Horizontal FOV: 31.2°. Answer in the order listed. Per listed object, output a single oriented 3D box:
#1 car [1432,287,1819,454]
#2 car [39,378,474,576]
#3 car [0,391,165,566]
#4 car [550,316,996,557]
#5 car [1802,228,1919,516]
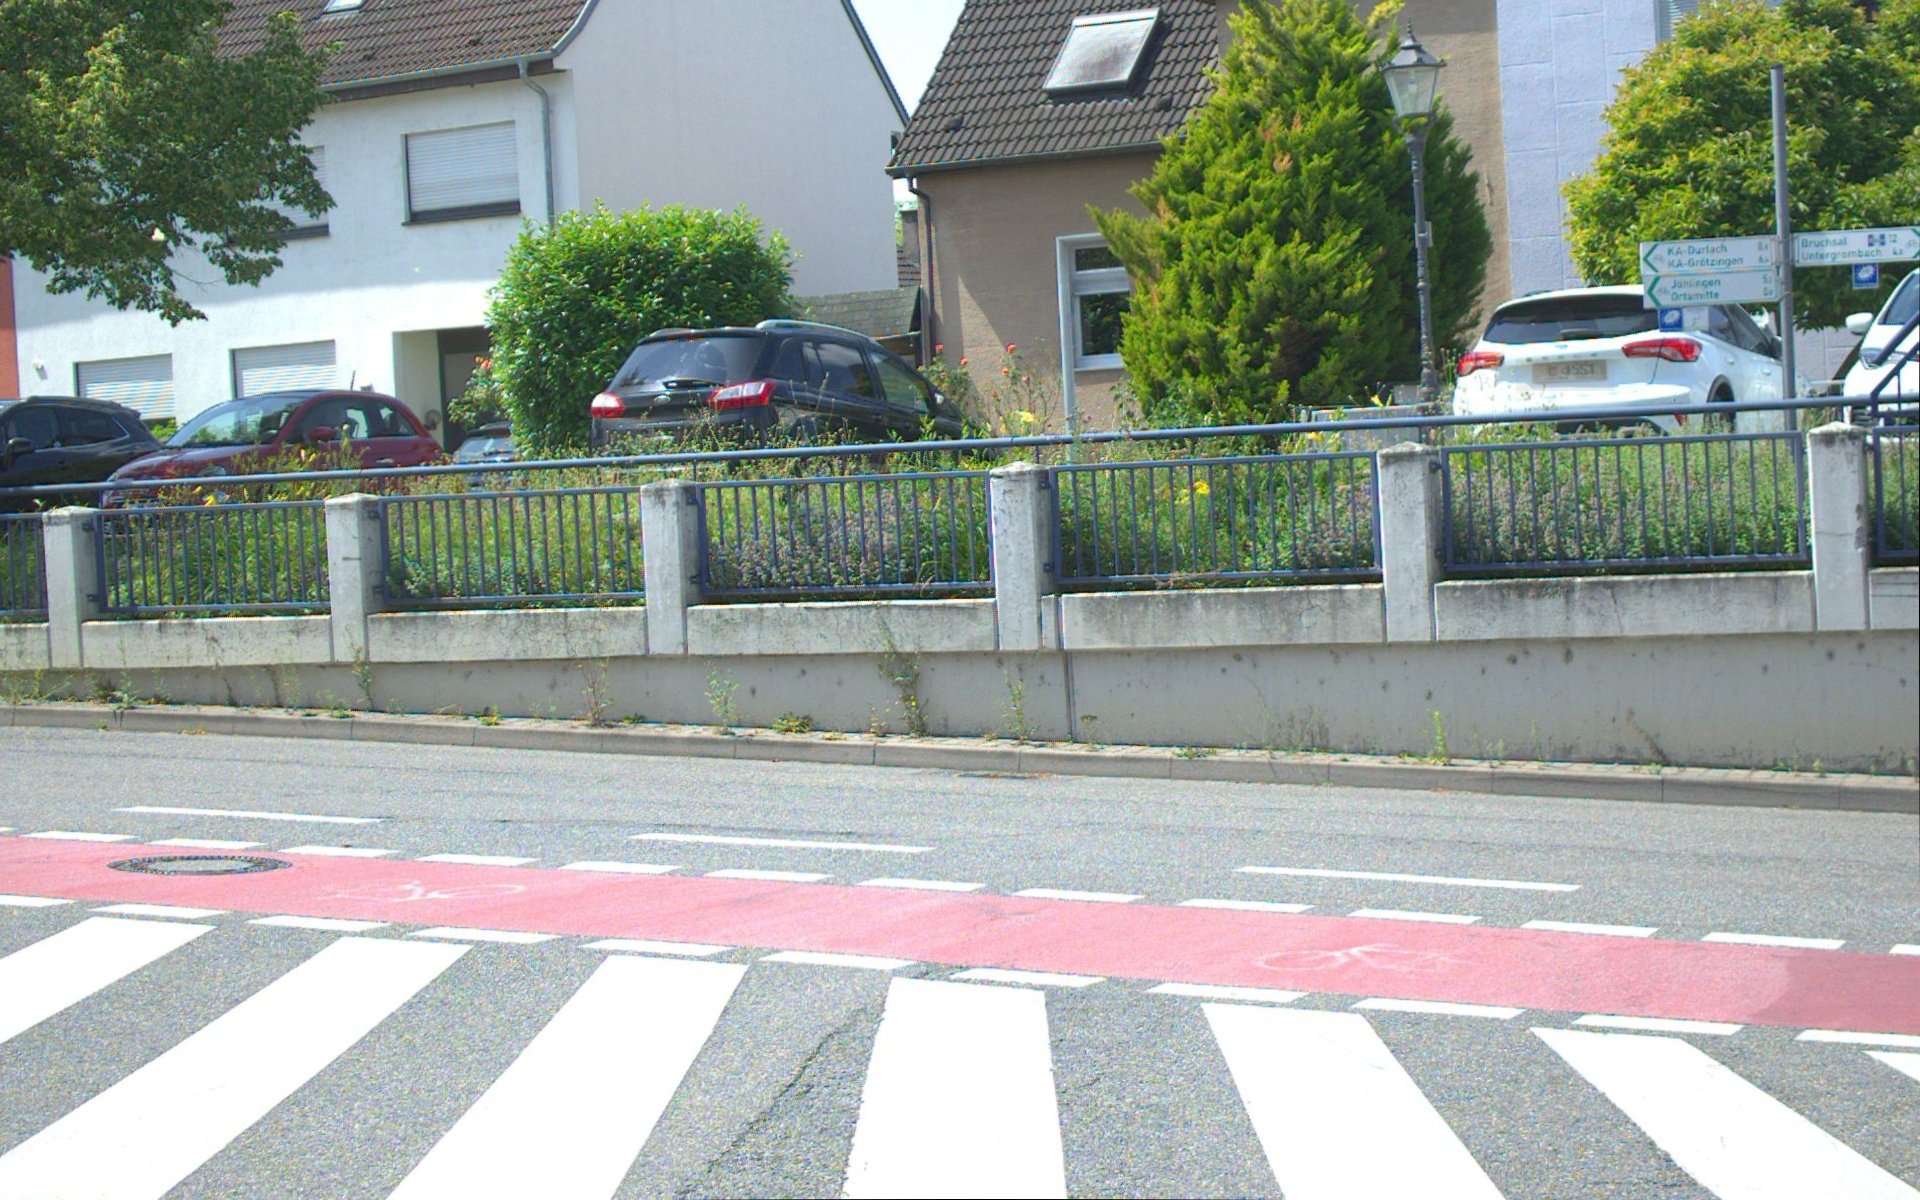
[{"bbox_3d":[4.771,-1.596,24.310,1.827,1.016,3.454,3,2,26],"label":"car"},{"bbox_3d":[-6.030,-1.053,29.842,1.870,1.581,3.605,3,2,26],"label":"car"},{"bbox_3d":[-9.288,-1.142,31.849,1.870,1.581,3.605,3,2,26],"label":"car"},{"bbox_3d":[-1.427,-1.291,27.858,1.870,1.791,3.995,3,2,26],"label":"car"},{"bbox_3d":[7.162,-1.445,23.160,1.996,1.791,4.191,3,2,26],"label":"car"}]
